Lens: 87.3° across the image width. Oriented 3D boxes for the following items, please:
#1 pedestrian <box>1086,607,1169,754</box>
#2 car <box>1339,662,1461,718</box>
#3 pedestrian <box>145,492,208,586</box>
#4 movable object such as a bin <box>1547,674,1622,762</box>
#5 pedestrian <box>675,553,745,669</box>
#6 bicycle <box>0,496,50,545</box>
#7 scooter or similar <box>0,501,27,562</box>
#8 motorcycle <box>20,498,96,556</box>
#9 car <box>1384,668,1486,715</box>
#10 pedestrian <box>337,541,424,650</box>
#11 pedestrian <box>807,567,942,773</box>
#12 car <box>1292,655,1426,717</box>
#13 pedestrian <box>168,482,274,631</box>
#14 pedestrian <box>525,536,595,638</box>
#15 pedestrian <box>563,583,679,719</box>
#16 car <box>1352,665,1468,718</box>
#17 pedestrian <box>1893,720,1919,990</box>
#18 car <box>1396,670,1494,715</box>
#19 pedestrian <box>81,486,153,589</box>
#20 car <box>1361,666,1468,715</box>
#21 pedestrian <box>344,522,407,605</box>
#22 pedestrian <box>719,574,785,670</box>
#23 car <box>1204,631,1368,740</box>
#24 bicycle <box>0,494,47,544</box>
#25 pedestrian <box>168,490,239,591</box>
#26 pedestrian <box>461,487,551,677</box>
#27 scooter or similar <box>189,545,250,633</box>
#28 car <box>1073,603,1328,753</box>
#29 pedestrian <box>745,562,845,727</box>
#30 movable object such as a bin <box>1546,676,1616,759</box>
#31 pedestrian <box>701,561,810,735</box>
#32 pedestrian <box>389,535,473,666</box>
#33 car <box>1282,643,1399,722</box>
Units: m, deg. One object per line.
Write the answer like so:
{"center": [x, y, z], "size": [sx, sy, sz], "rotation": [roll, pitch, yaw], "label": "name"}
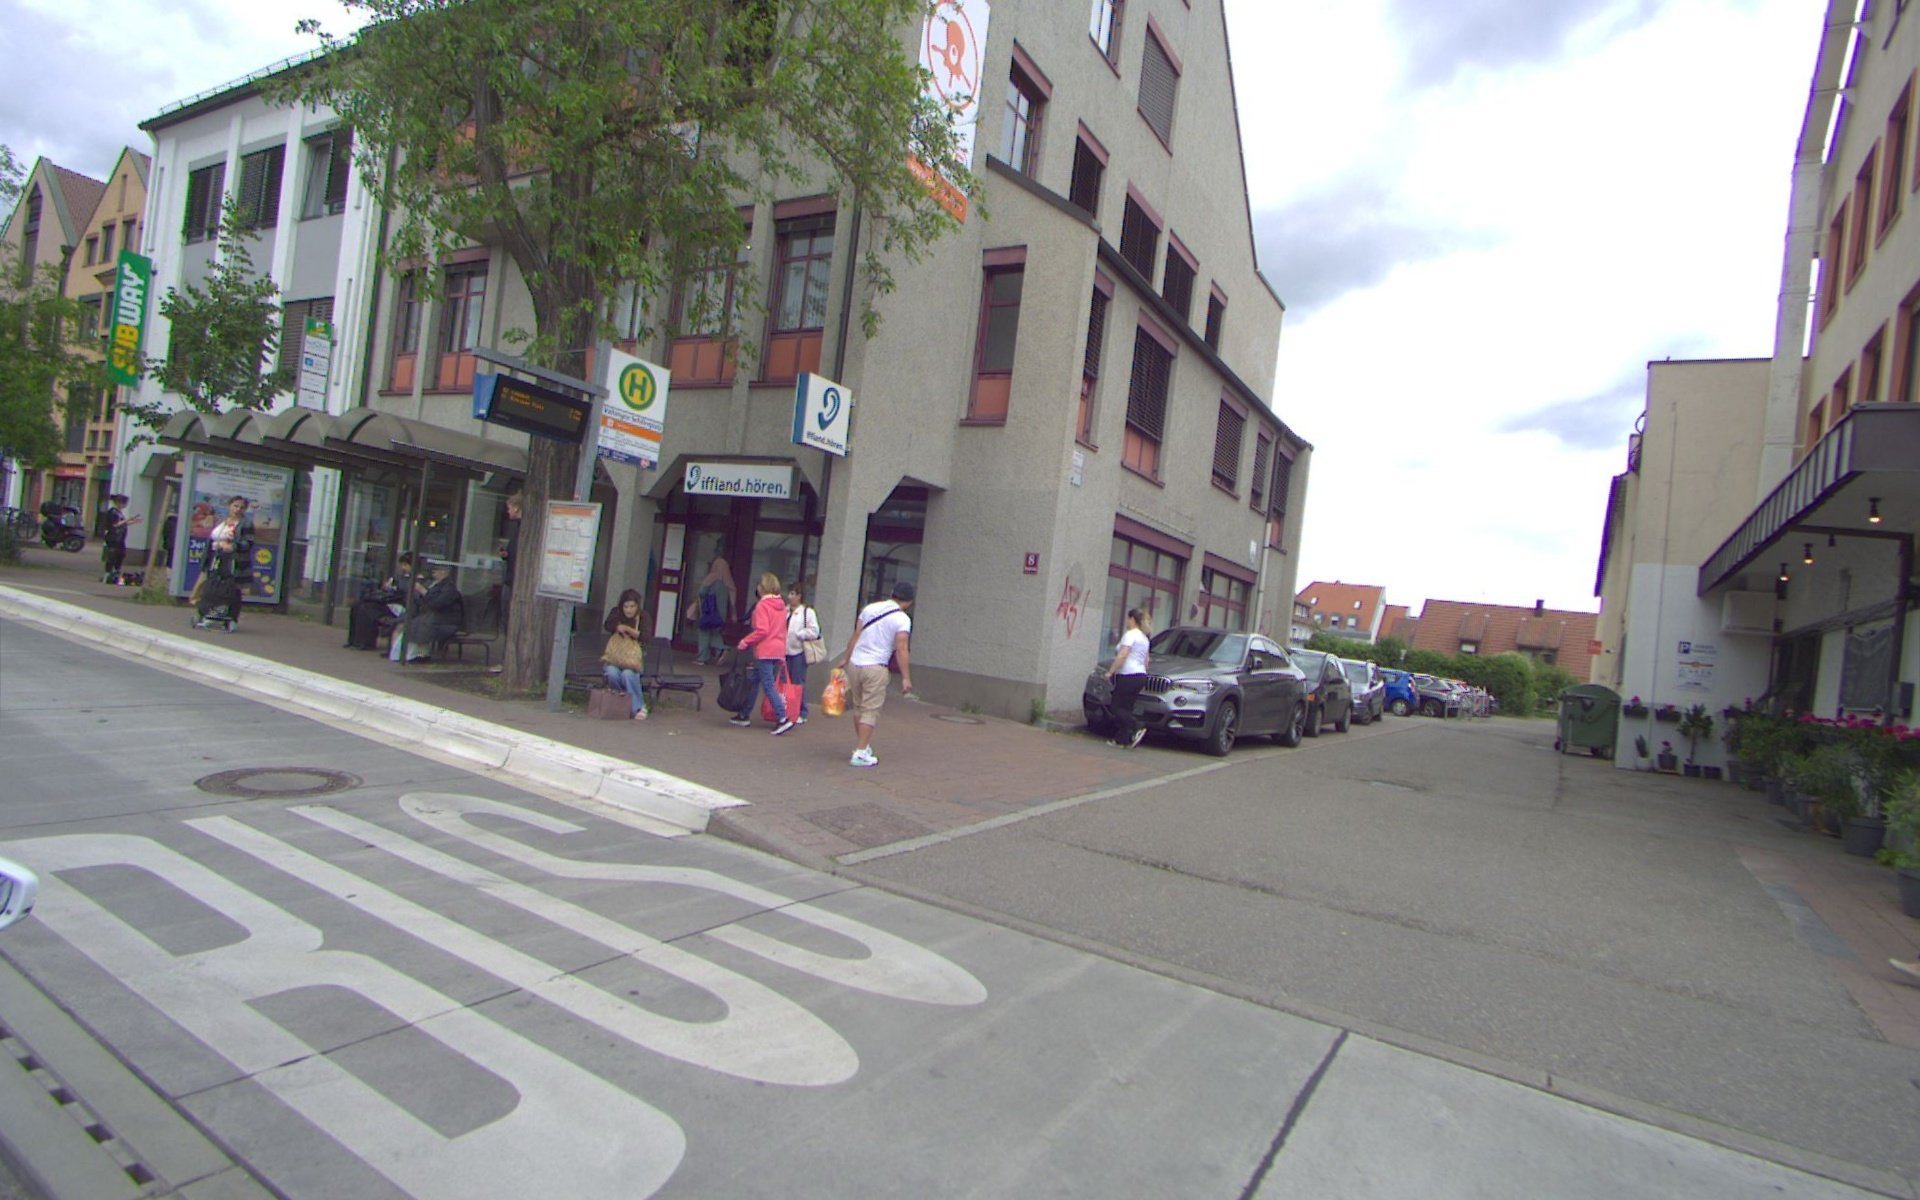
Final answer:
{"center": [2.007, 0.955, 12.030], "size": [0.605, 1.654, 0.587], "rotation": [7, 0, 32], "label": "pedestrian"}
{"center": [16.682, 3.422, 38.160], "size": [3.887, 1.525, 1.834], "rotation": [7, -1, 33], "label": "car"}
{"center": [-14.345, -1.100, 18.427], "size": [0.578, 1.631, 0.613], "rotation": [6, 0, -13], "label": "pedestrian"}
{"center": [12.673, 2.386, 20.448], "size": [1.099, 1.582, 1.106], "rotation": [7, 0, 31], "label": "movable object such as a bin"}
{"center": [-3.806, 0.171, 15.320], "size": [0.605, 1.654, 0.587], "rotation": [8, 0, 33], "label": "pedestrian"}
{"center": [-28.265, -2.402, 29.817], "size": [0.658, 1.274, 1.678], "rotation": [7, -1, 28], "label": "bicycle"}
{"center": [-20.042, -1.471, 20.618], "size": [0.452, 1.211, 1.179], "rotation": [7, 0, 23], "label": "scooter or similar"}
{"center": [-23.833, -1.942, 26.583], "size": [2.071, 1.286, 0.738], "rotation": [7, 0, 28], "label": "motorcycle"}
{"center": [21.676, 4.161, 45.934], "size": [3.887, 1.525, 1.834], "rotation": [7, -1, 33], "label": "car"}
{"center": [-7.119, -0.050, 12.364], "size": [0.579, 1.248, 0.698], "rotation": [7, 2, 41], "label": "pedestrian"}
{"center": [-0.744, 0.602, 8.848], "size": [0.779, 1.654, 0.615], "rotation": [8, 0, 23], "label": "pedestrian"}
{"center": [13.687, 2.940, 34.512], "size": [3.886, 1.525, 1.834], "rotation": [7, -1, 32], "label": "car"}
{"center": [-8.795, -0.502, 11.987], "size": [0.577, 1.652, 0.537], "rotation": [9, -2, 7], "label": "pedestrian"}
{"center": [-6.954, -0.210, 17.494], "size": [0.604, 1.654, 0.728], "rotation": [8, 0, 23], "label": "pedestrian"}
{"center": [-3.230, 0.493, 9.623], "size": [0.577, 1.180, 0.714], "rotation": [8, 0, 25], "label": "pedestrian"}
{"center": [17.976, 3.641, 40.240], "size": [3.887, 1.525, 1.834], "rotation": [7, -1, 33], "label": "car"}
{"center": [5.543, 1.234, 5.189], "size": [0.768, 1.764, 0.683], "rotation": [5, 1, 27], "label": "pedestrian"}
{"center": [23.027, 4.380, 47.786], "size": [3.887, 1.525, 1.834], "rotation": [7, -1, 33], "label": "car"}
{"center": [-15.496, -1.140, 18.496], "size": [0.578, 1.758, 0.615], "rotation": [8, -2, 28], "label": "pedestrian"}
{"center": [19.771, 3.935, 43.826], "size": [3.887, 1.525, 1.834], "rotation": [7, -1, 33], "label": "car"}
{"center": [-11.748, -0.724, 20.230], "size": [0.604, 1.544, 0.727], "rotation": [8, 0, 25], "label": "pedestrian"}
{"center": [-3.230, 0.347, 15.666], "size": [0.605, 1.392, 0.587], "rotation": [8, 0, 34], "label": "pedestrian"}
{"center": [6.247, 1.648, 18.987], "size": [1.807, 1.638, 3.943], "rotation": [7, -2, 34], "label": "car"}
{"center": [-28.956, -2.520, 30.360], "size": [0.829, 1.342, 1.820], "rotation": [7, -1, 28], "label": "bicycle"}
{"center": [-14.779, -1.150, 19.663], "size": [0.752, 1.842, 0.615], "rotation": [6, 0, 8], "label": "pedestrian"}
{"center": [-5.155, -0.197, 11.427], "size": [0.611, 2.073, 0.580], "rotation": [4, 2, -45], "label": "pedestrian"}
{"center": [-8.605, -0.127, 11.702], "size": [0.349, 0.971, 0.384], "rotation": [7, 1, -9], "label": "scooter or similar"}
{"center": [3.634, 1.179, 14.506], "size": [1.851, 1.638, 4.609], "rotation": [7, -2, 35], "label": "car"}
{"center": [-1.740, 0.478, 10.649], "size": [0.579, 1.654, 0.613], "rotation": [7, 0, 36], "label": "pedestrian"}
{"center": [13.356, 2.504, 21.666], "size": [1.099, 1.582, 1.106], "rotation": [7, 0, 31], "label": "movable object such as a bin"}
{"center": [-1.997, 0.471, 9.833], "size": [0.669, 1.585, 0.486], "rotation": [9, 0, -38], "label": "pedestrian"}
{"center": [-6.091, 0.007, 11.583], "size": [0.611, 1.419, 0.580], "rotation": [4, 2, -45], "label": "pedestrian"}
{"center": [9.235, 2.029, 24.251], "size": [1.806, 1.525, 3.945], "rotation": [7, -2, 31], "label": "car"}
